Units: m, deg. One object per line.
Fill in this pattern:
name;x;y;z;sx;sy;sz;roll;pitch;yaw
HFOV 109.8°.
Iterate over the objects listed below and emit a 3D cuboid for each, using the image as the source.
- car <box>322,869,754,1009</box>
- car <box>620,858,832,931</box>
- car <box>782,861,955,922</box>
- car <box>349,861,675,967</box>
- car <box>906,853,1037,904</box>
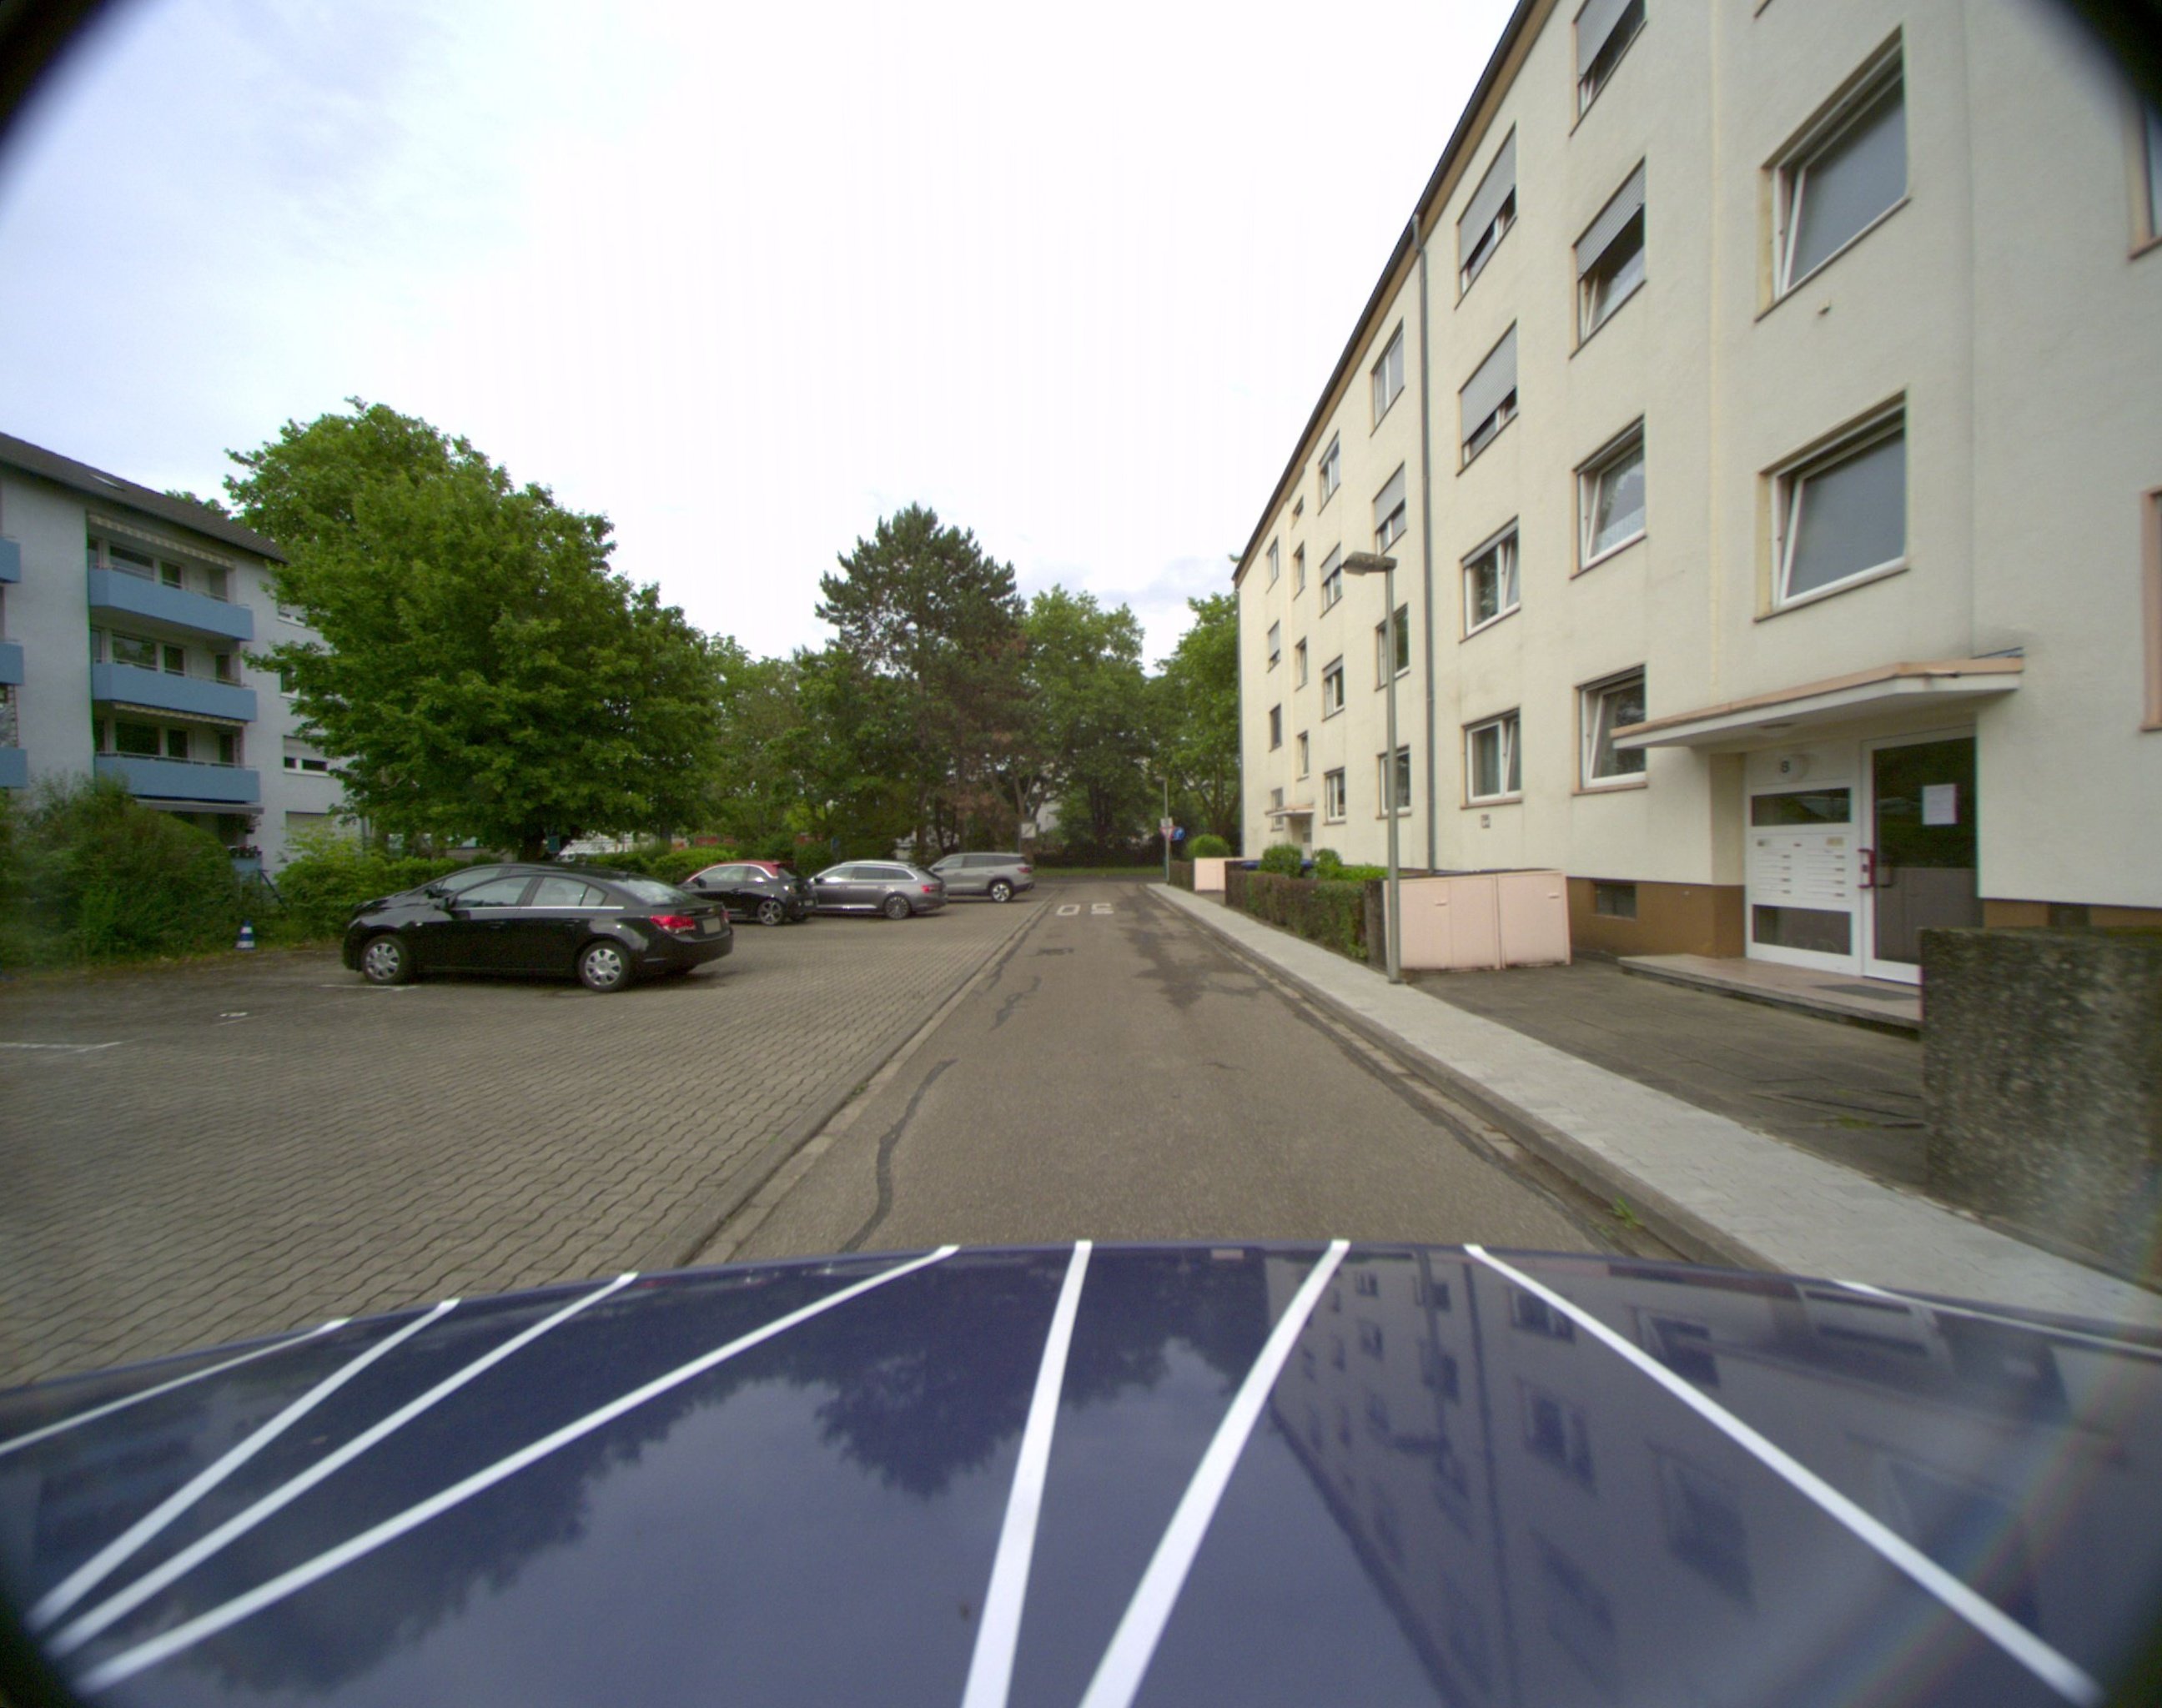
car;-6.840;1.020;9.901;4.334;1.476;1.787;2;1;1
car;-8.209;0.911;17.822;4.103;1.476;1.787;2;1;1
car;-5.592;0.973;20.387;4.104;1.476;1.787;-1;1;0
car;-9.308;0.934;12.671;4.103;1.476;1.787;2;1;1
car;-3.588;0.791;25.409;4.104;1.636;1.787;0;1;0
